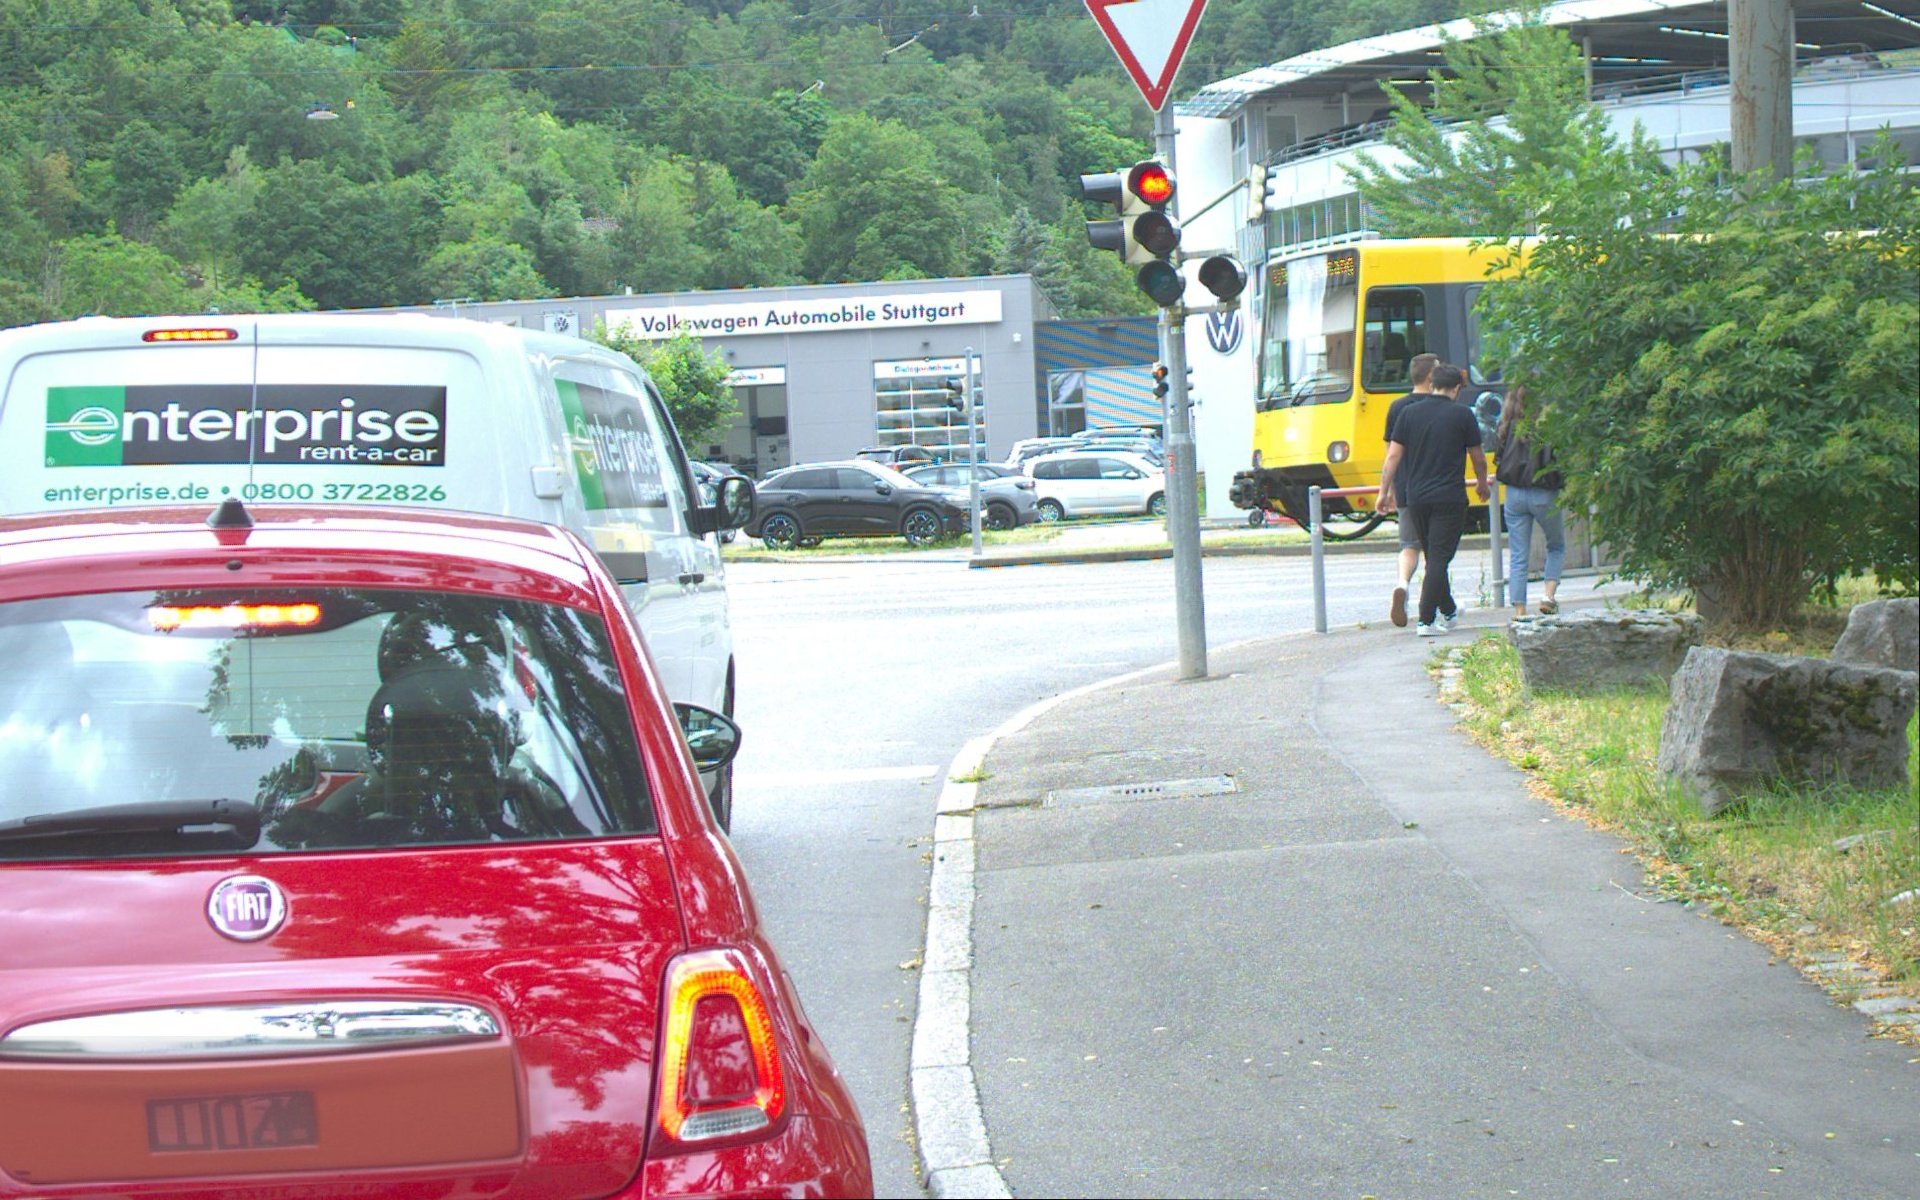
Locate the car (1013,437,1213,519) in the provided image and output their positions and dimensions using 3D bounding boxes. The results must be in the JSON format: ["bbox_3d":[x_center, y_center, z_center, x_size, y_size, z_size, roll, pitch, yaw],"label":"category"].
[{"bbox_3d":[3.756,-3.006,84.603,4.796,1.796,1.776,-2,2,3],"label":"car"}]

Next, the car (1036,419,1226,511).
[{"bbox_3d":[4.448,-3.506,89.512,4.796,2.149,2.234,-2,2,3],"label":"car"}]

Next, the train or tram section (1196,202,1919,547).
[{"bbox_3d":[12.288,-2.968,42.478,19.108,3.653,3.279,-3,2,-22],"label":"train or tram section"}]

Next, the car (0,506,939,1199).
[{"bbox_3d":[-1.168,0.603,5.537,1.638,1.451,3.432,-2,2,-11],"label":"car"}]

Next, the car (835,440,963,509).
[{"bbox_3d":[-1.743,-3.643,99.354,1.996,1.809,3.995,-1,3,27],"label":"car"}]

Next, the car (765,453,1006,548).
[{"bbox_3d":[-1.319,-1.775,61.377,3.871,1.495,1.774,-2,2,17],"label":"car"}]

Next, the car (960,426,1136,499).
[{"bbox_3d":[2.478,-3.845,96.194,4.796,1.796,1.776,-2,2,3],"label":"car"}]

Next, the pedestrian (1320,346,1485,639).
[{"bbox_3d":[2.876,-0.700,22.307,0.694,1.850,0.787,-2,2,34],"label":"pedestrian"}]

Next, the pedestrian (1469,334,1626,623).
[{"bbox_3d":[3.658,-0.759,21.385,0.694,1.733,0.787,-2,2,26],"label":"pedestrian"}]

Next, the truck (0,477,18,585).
[{"bbox_3d":[-23.765,-1.415,76.145,5.183,2.385,2.000,-4,3,-28],"label":"truck"}]

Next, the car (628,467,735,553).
[{"bbox_3d":[-6.356,-2.092,78.829,1.993,1.809,4.000,-3,2,1],"label":"car"}]

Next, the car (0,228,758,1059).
[{"bbox_3d":[-1.917,0.035,11.381,1.989,2.099,4.762,-3,2,2],"label":"car"}]

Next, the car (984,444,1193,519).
[{"bbox_3d":[3.030,-2.801,81.061,4.796,1.528,1.776,-2,2,3],"label":"car"}]

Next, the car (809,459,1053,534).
[{"bbox_3d":[-0.587,-2.126,70.617,4.674,1.323,1.775,-2,2,14],"label":"car"}]

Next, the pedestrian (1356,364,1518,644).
[{"bbox_3d":[3.007,-0.610,21.631,0.694,1.708,0.787,-2,2,30],"label":"pedestrian"}]

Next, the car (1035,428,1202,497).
[{"bbox_3d":[4.654,-4.040,101.088,4.796,1.796,1.776,-2,2,3],"label":"car"}]

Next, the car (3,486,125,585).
[{"bbox_3d":[-17.783,-1.312,68.401,1.859,1.811,4.404,-3,2,-9],"label":"car"}]
